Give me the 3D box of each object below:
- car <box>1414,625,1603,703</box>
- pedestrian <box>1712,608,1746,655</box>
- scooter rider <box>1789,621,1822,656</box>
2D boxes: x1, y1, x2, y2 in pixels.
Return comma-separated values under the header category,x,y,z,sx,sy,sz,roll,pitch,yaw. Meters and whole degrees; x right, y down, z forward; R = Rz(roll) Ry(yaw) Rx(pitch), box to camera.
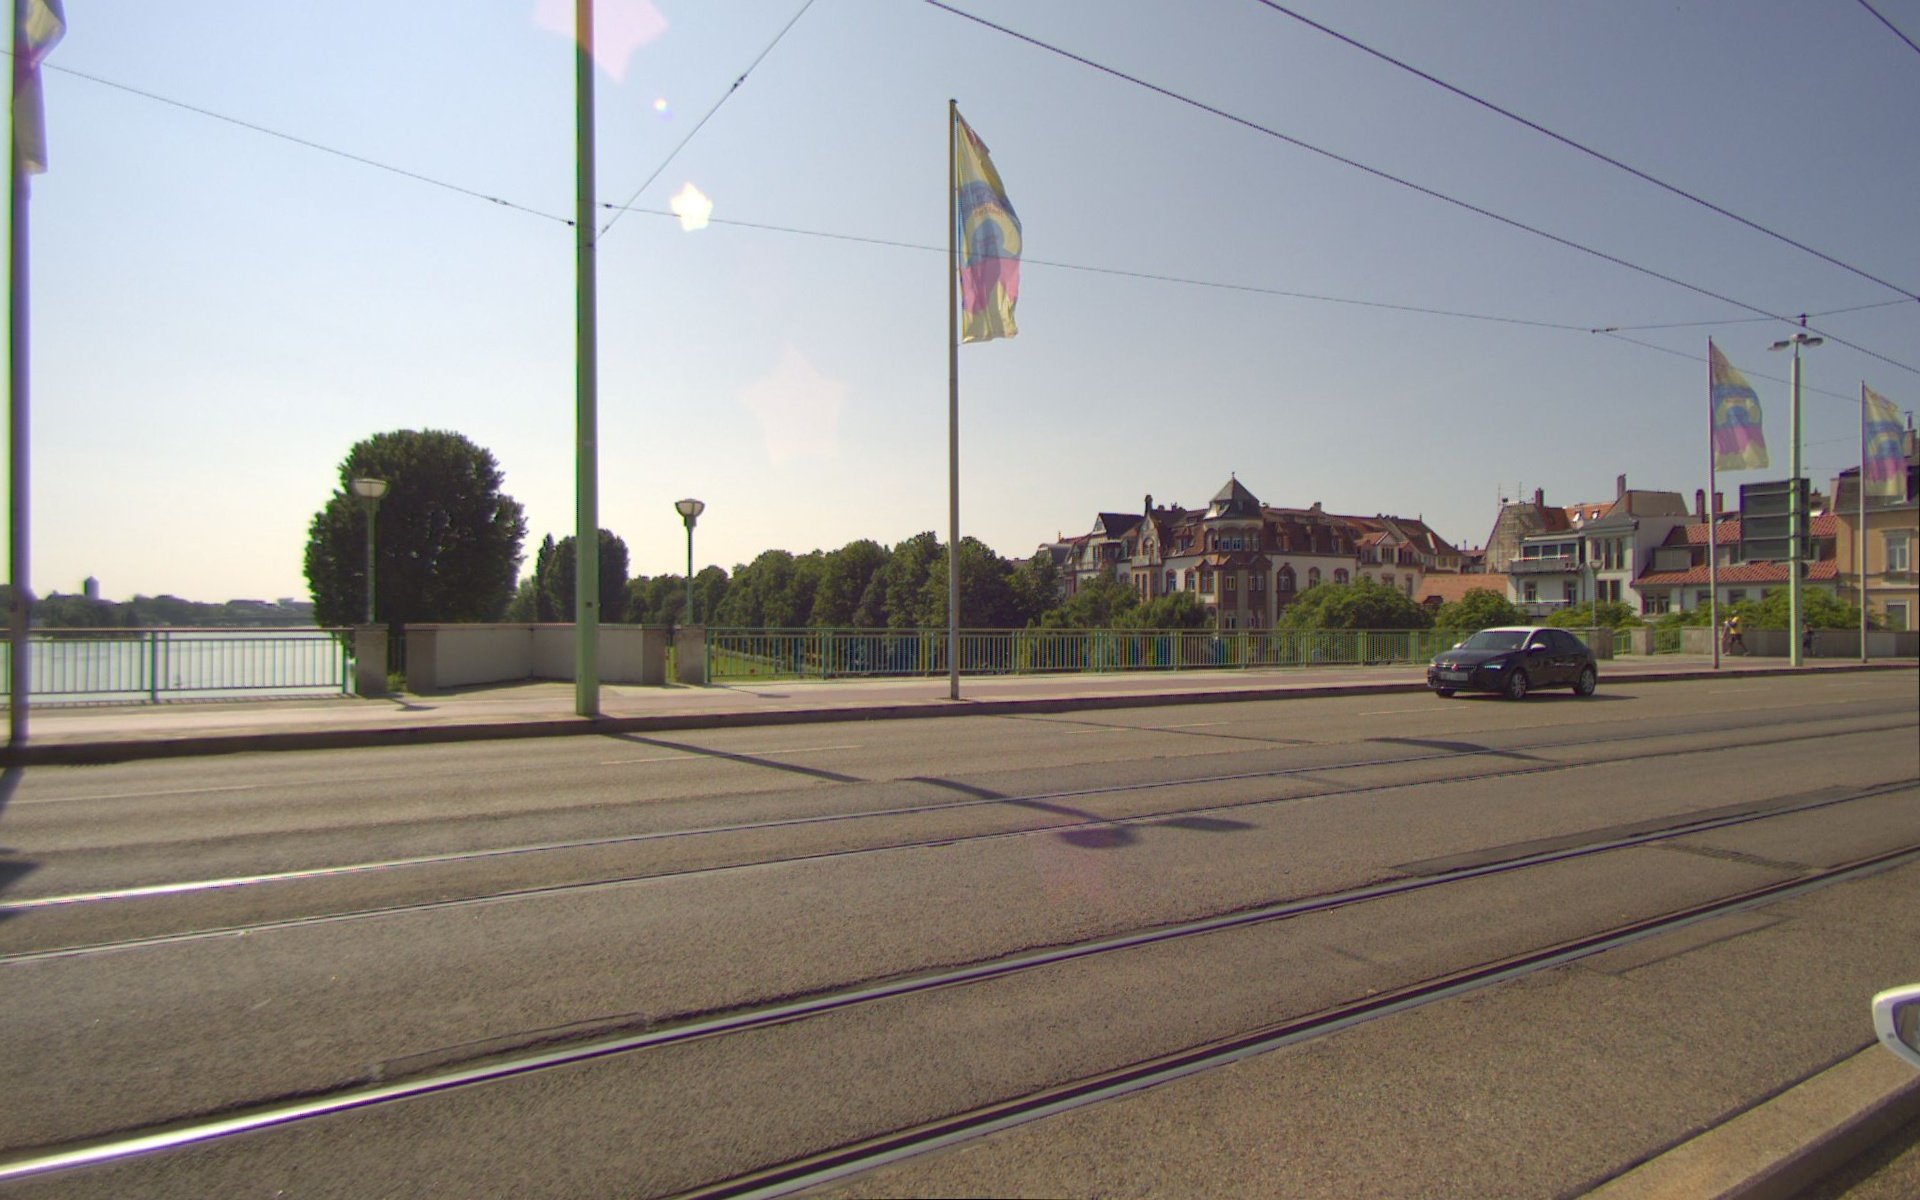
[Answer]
category,x,y,z,sx,sy,sz,roll,pitch,yaw
car,11.388,1.270,20.804,3.856,1.474,1.708,1,-2,-30
pedestrian,30.032,1.216,39.228,0.791,1.804,0.743,1,-2,-25
scooter rider,34.659,1.570,41.168,0.588,1.333,0.767,2,3,-18
